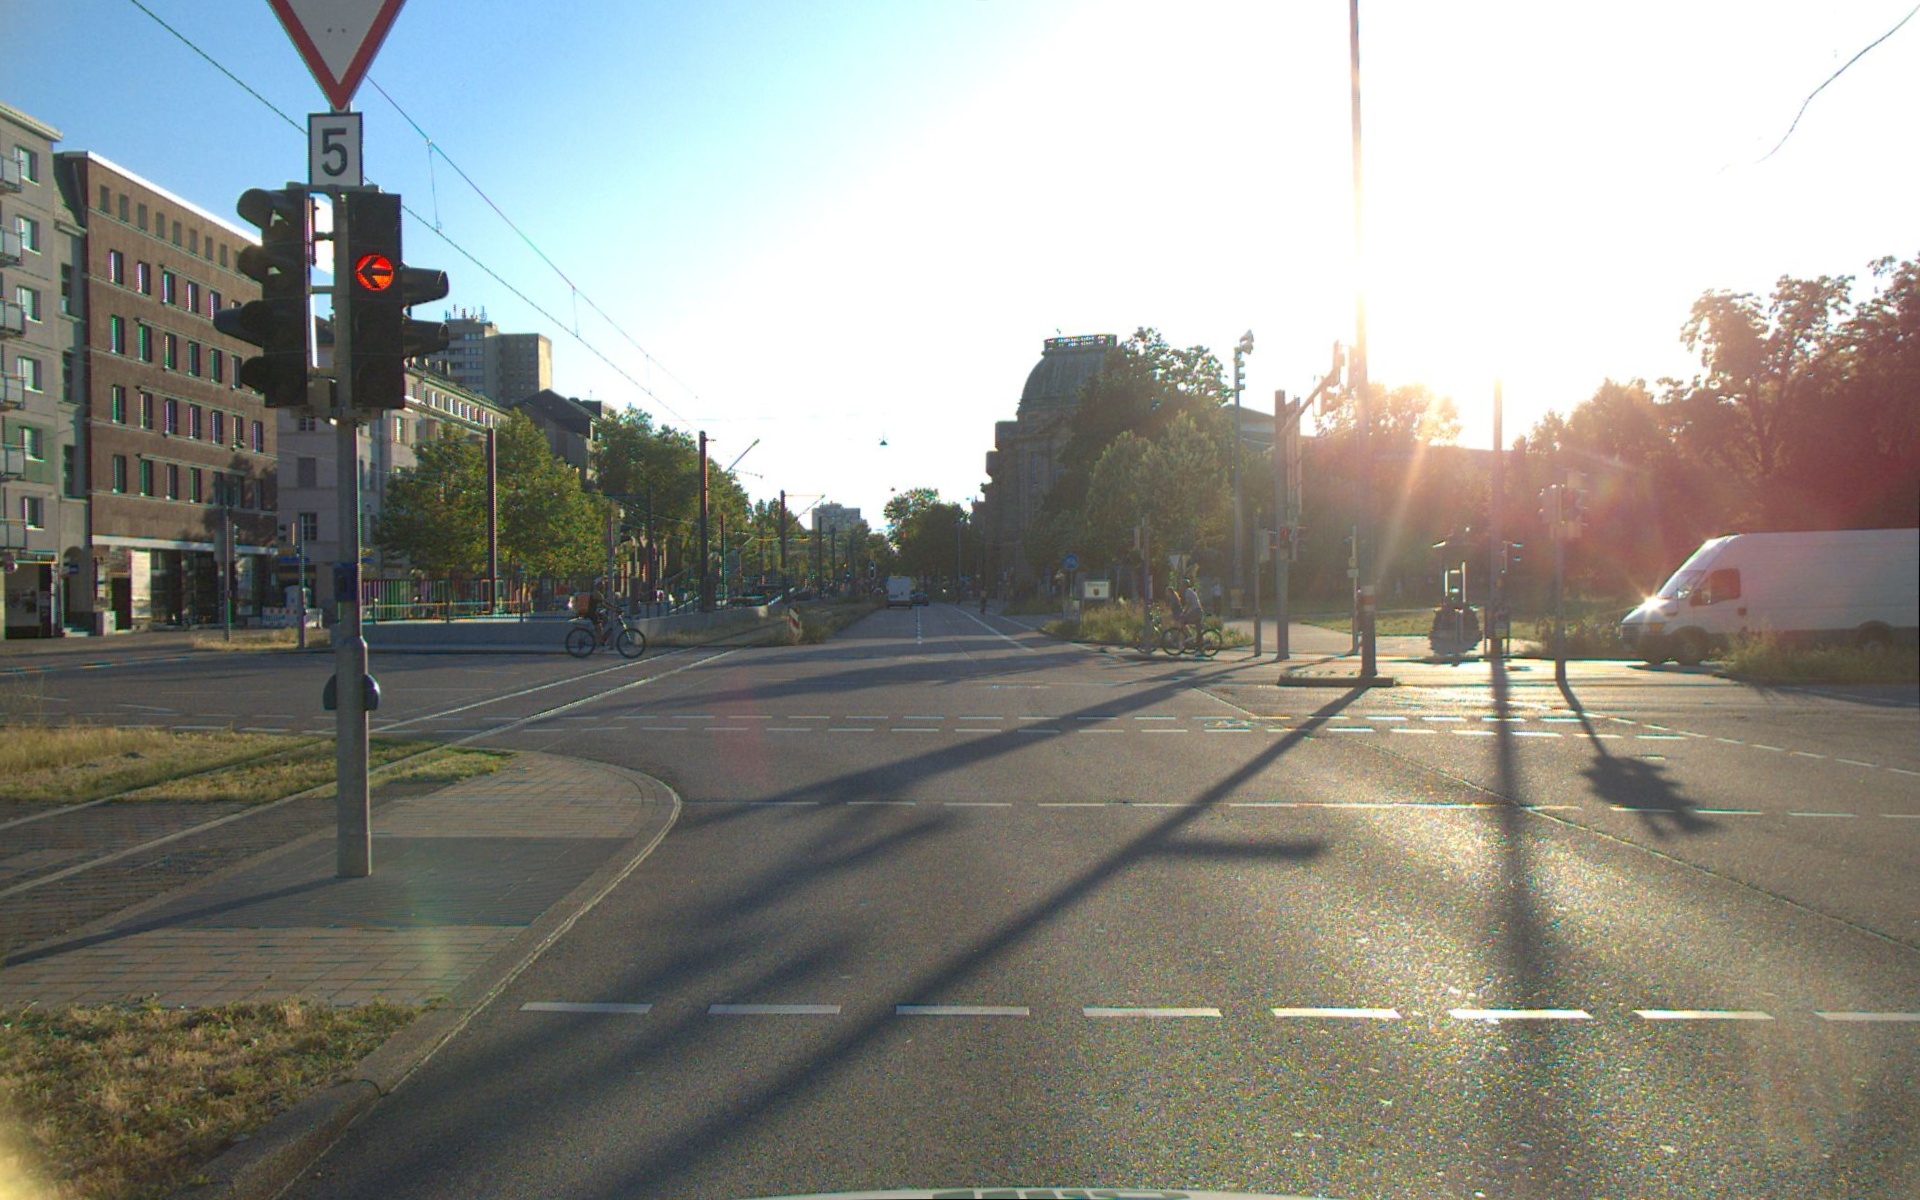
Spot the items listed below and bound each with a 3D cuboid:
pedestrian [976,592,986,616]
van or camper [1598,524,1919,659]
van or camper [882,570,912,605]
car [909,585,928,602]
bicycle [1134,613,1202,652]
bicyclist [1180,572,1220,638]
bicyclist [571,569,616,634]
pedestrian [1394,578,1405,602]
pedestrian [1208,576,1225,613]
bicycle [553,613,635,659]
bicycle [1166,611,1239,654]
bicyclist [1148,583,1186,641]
[{"bbox_3d":[1.326,0.251,105.551,0.603,1.501,0.800,-1,1,3],"label":"pedestrian"},{"bbox_3d":[17.831,-0.226,36.000,6.898,2.721,2.599,-1,2,1],"label":"van or camper"},{"bbox_3d":[-4.992,-1.011,130.884,2.217,2.670,4.503,-1,2,-1],"label":"van or camper"},{"bbox_3d":[-3.942,-0.623,157.481,1.702,1.410,4.000,-1,2,-1],"label":"car"},{"bbox_3d":[5.405,0.847,43.002,1.684,0.987,0.609,0,1,-4],"label":"bicycle"},{"bbox_3d":[5.941,0.124,40.960,0.782,1.598,0.662,0,2,26],"label":"bicyclist"},{"bbox_3d":[-8.390,0.035,37.875,0.843,1.467,0.657,1,1,-28],"label":"bicyclist"},{"bbox_3d":[31.265,-0.715,117.675,0.780,1.731,0.801,-1,0,14],"label":"pedestrian"},{"bbox_3d":[11.631,-0.236,75.050,0.668,1.639,0.612,-1,1,-1],"label":"pedestrian"},{"bbox_3d":[-8.398,0.831,37.992,1.708,0.987,0.698,1,2,-28],"label":"bicycle"},{"bbox_3d":[5.995,0.799,40.938,1.694,0.987,0.609,1,2,26],"label":"bicycle"},{"bbox_3d":[5.379,0.317,42.988,0.836,1.467,0.663,-1,1,-3],"label":"bicyclist"}]
